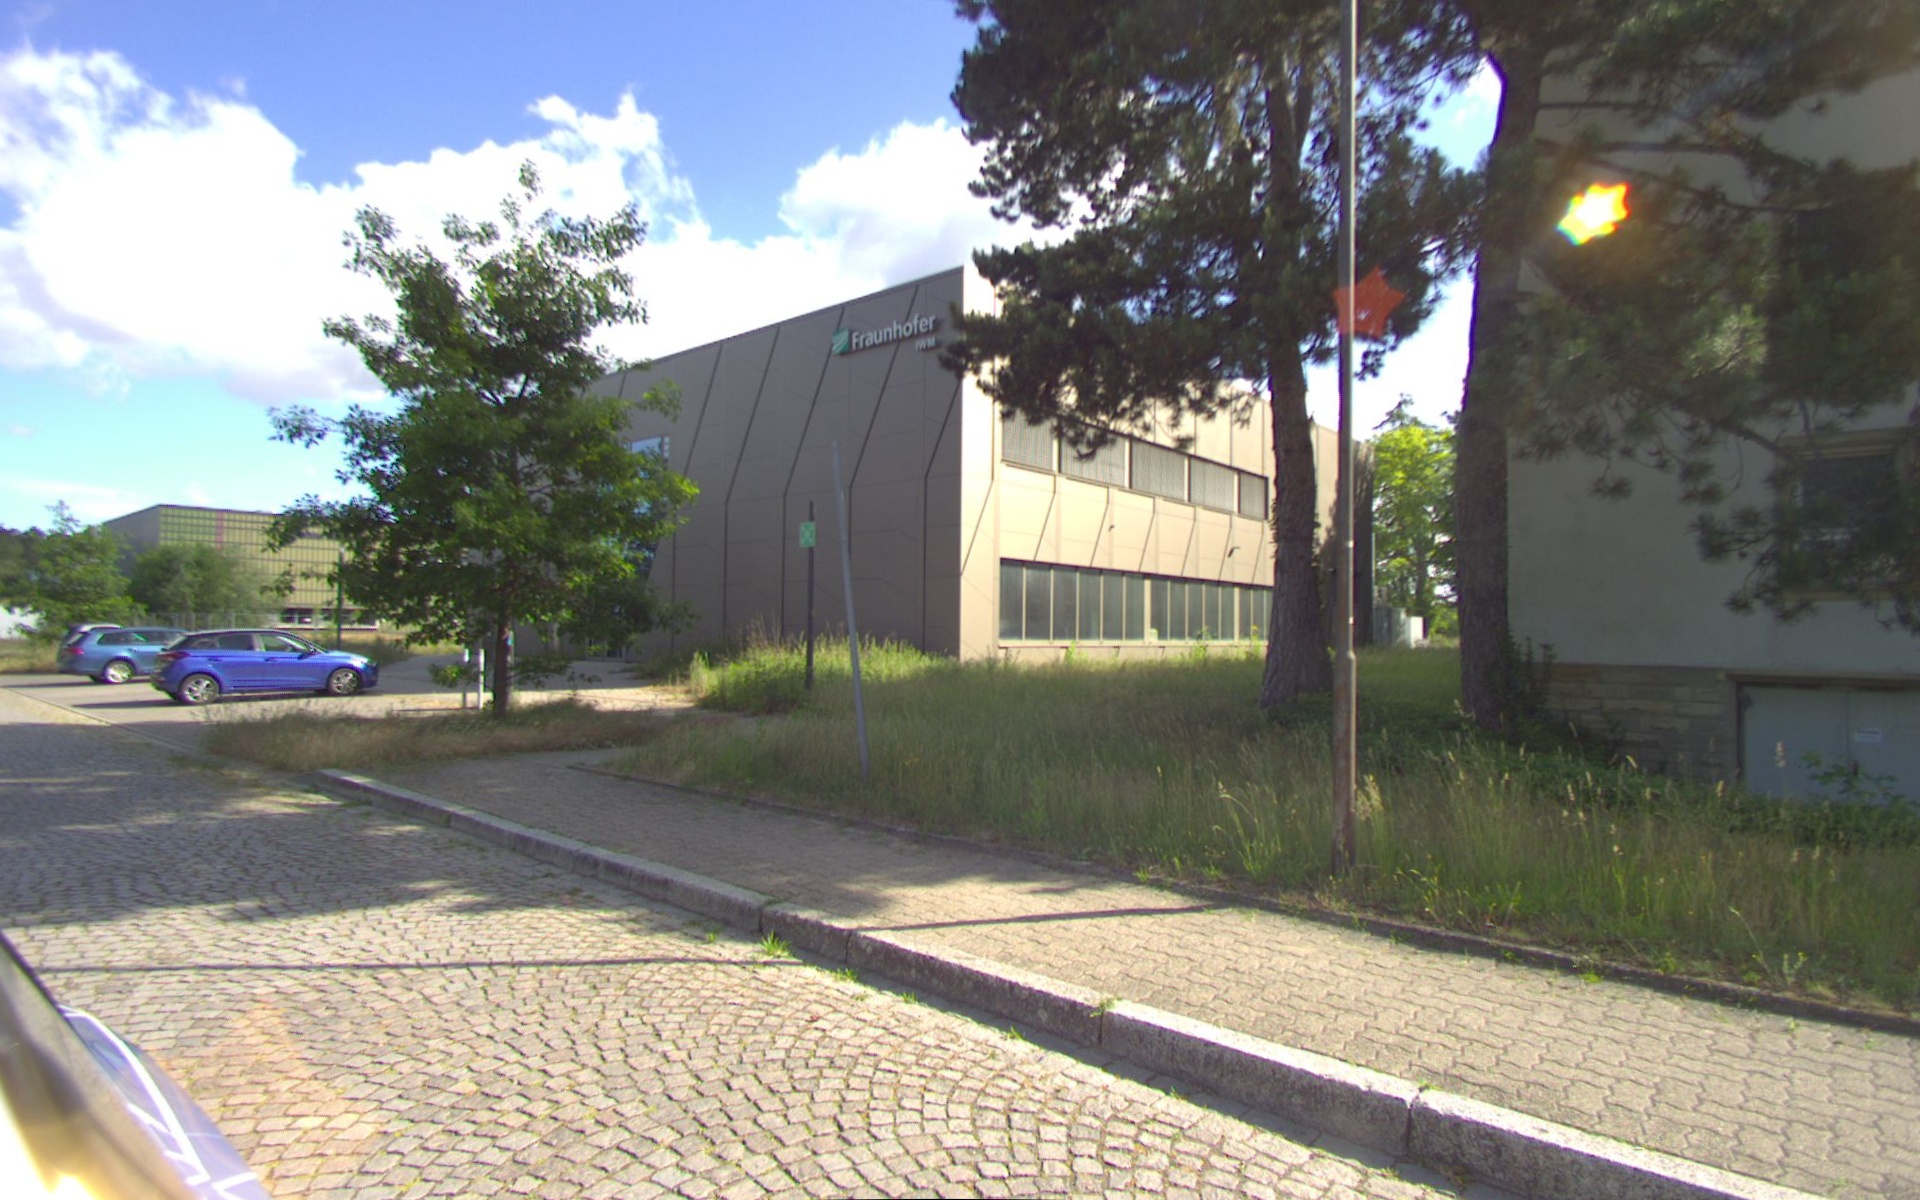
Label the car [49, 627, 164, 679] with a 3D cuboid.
[{"bbox_3d":[-27.405,1.661,32.532,1.480,1.580,2.619,-1,-2,39],"label":"car"}]

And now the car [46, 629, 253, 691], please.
[{"bbox_3d":[-21.967,1.570,27.565,1.732,1.485,4.128,-1,-1,38],"label":"car"}]

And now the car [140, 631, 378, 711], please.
[{"bbox_3d":[-14.744,1.417,21.435,1.735,1.479,3.866,-1,-2,43],"label":"car"}]
